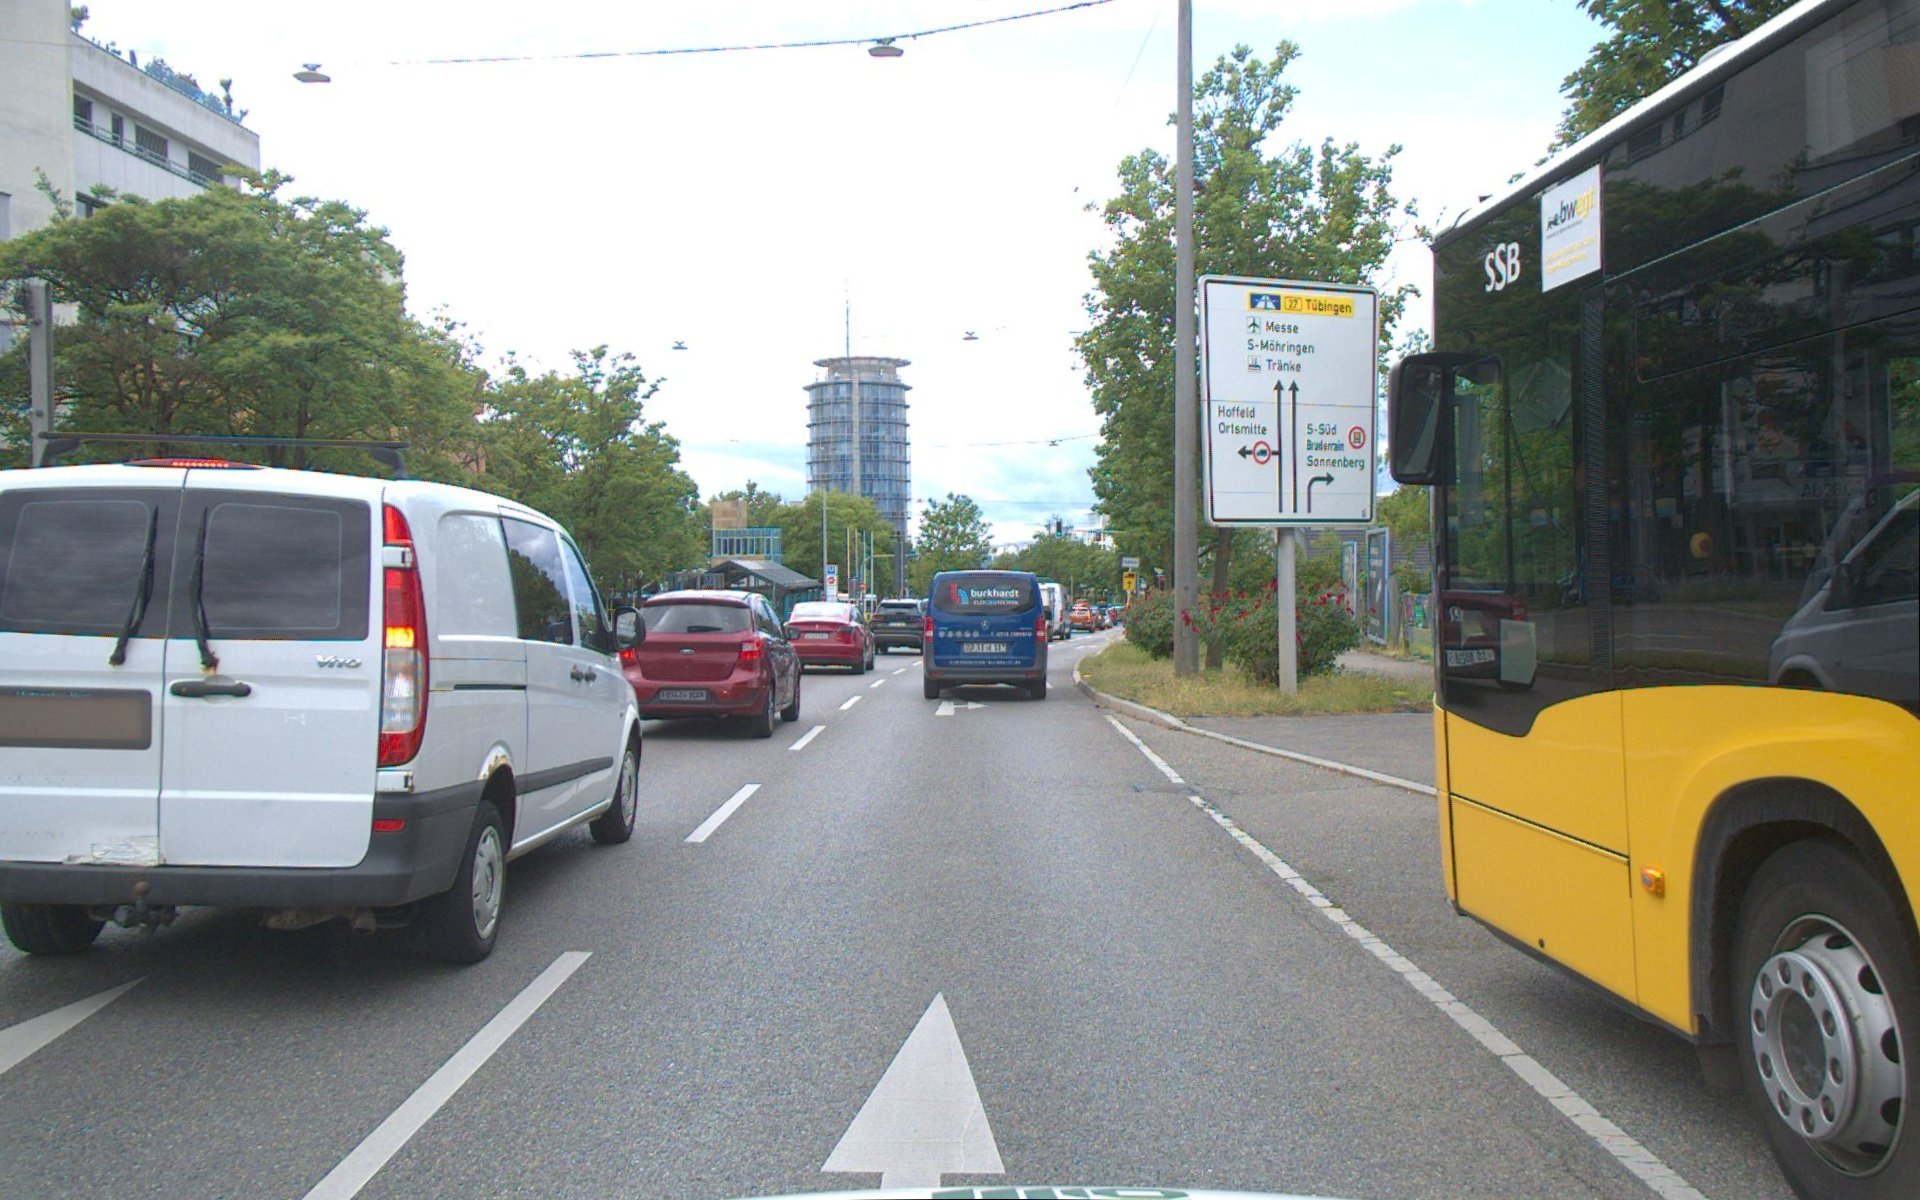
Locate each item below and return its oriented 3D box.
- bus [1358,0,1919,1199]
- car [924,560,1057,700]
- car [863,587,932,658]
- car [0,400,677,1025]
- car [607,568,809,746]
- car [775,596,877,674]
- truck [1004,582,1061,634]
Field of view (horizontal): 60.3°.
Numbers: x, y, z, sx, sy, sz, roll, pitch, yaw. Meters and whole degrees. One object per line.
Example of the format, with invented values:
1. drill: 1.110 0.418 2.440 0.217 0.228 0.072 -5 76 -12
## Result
1. bus: 3.276 -0.161 2.220 2.659 3.219 9.120 -2 1 -4
2. car: 0.424 0.446 26.012 1.908 2.000 4.541 0 -1 0
3. car: -1.861 0.633 50.525 1.953 2.049 4.000 1 1 0
4. car: -2.700 0.347 8.050 1.836 2.049 5.075 2 1 -1
5. car: -2.709 0.592 18.587 1.711 1.754 3.999 -1 -1 -1
6. car: -2.749 0.723 34.714 1.830 1.512 3.999 -1 -1 -1
7. truck: 3.331 0.368 74.789 1.951 2.203 5.563 1 0 8
